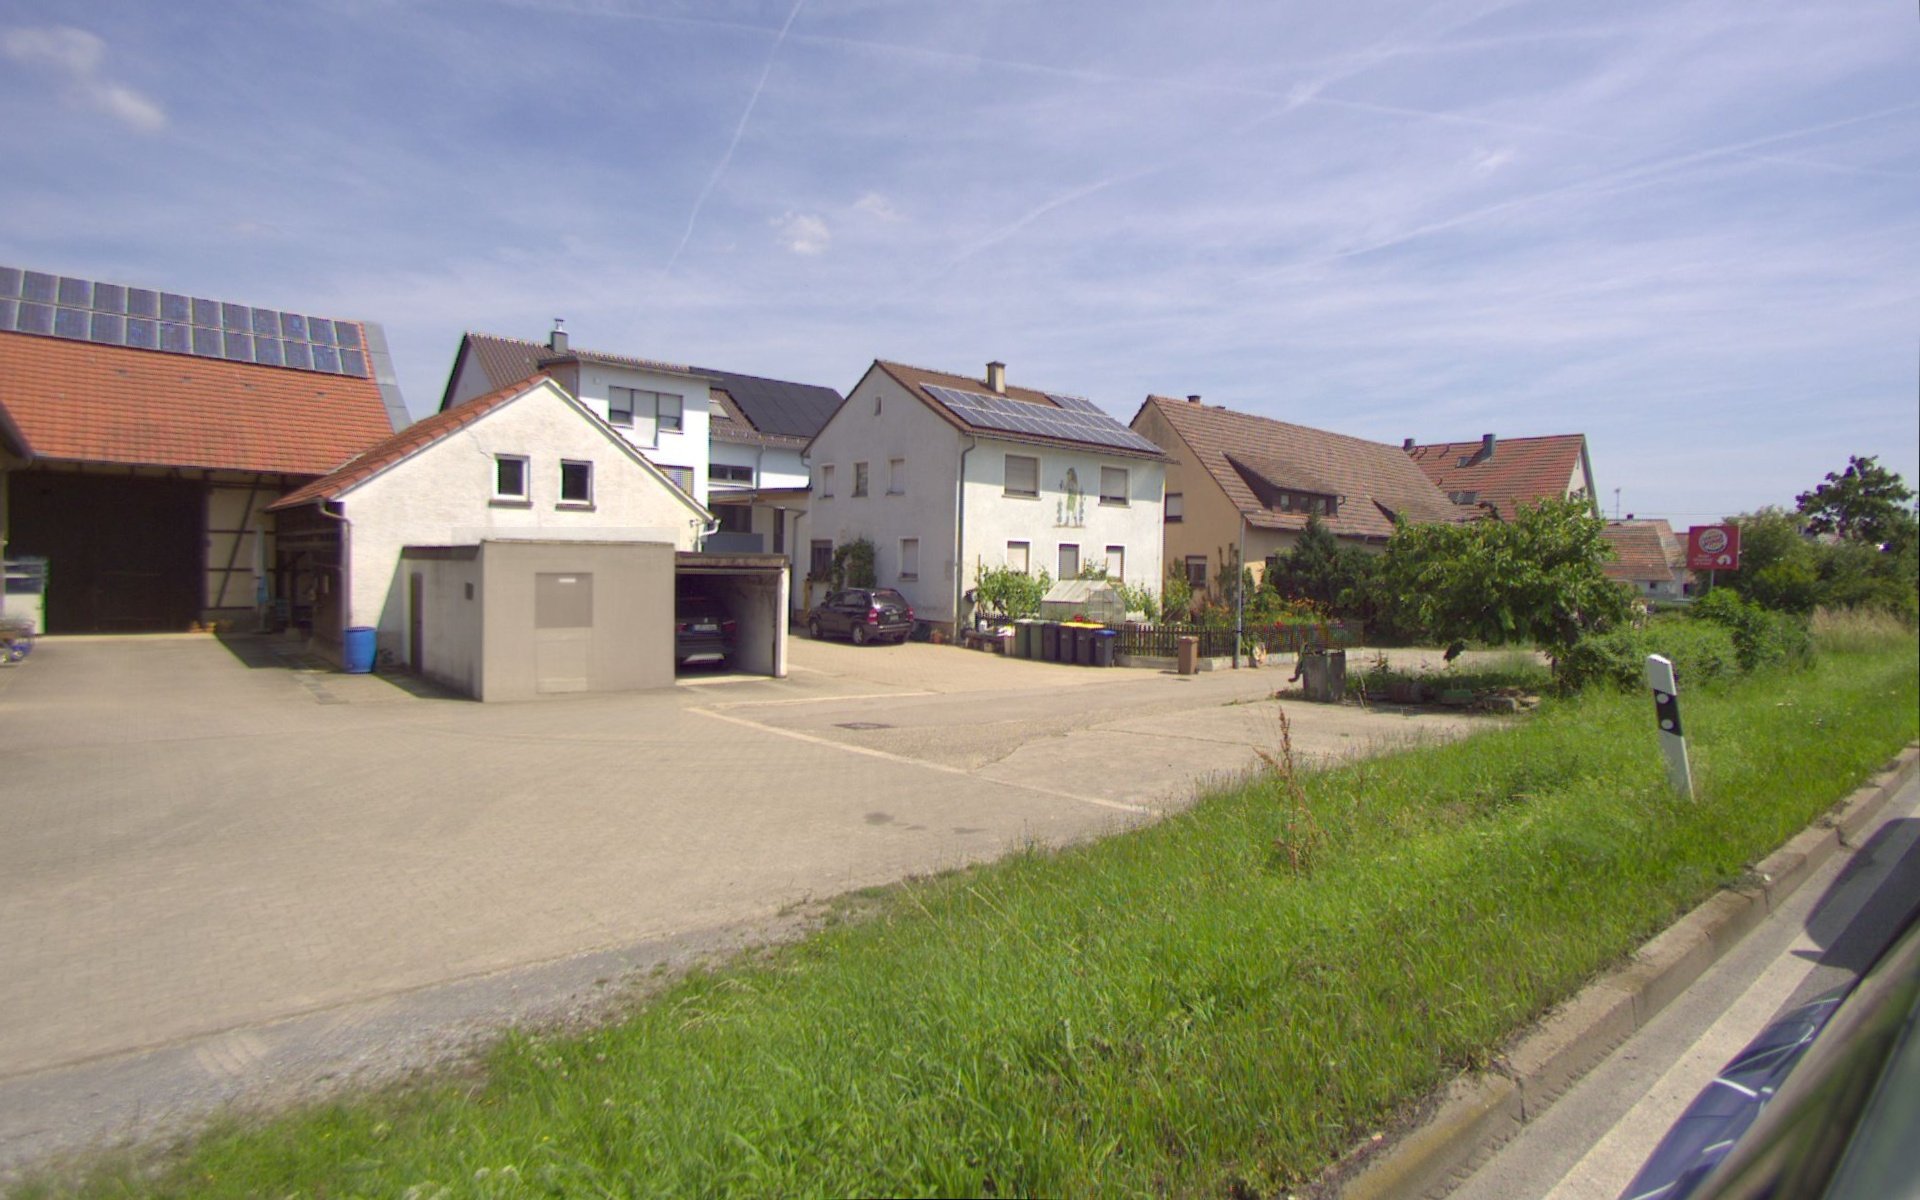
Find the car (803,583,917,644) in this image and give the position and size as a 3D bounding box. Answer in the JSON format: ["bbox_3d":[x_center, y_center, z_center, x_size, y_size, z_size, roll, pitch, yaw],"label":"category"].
[{"bbox_3d":[-3.239,0.370,32.289,1.810,1.714,3.959,-1,3,-38],"label":"car"}]

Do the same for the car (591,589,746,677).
[{"bbox_3d":[-6.370,0.625,21.853,1.802,1.597,3.996,-1,2,-40],"label":"car"}]
